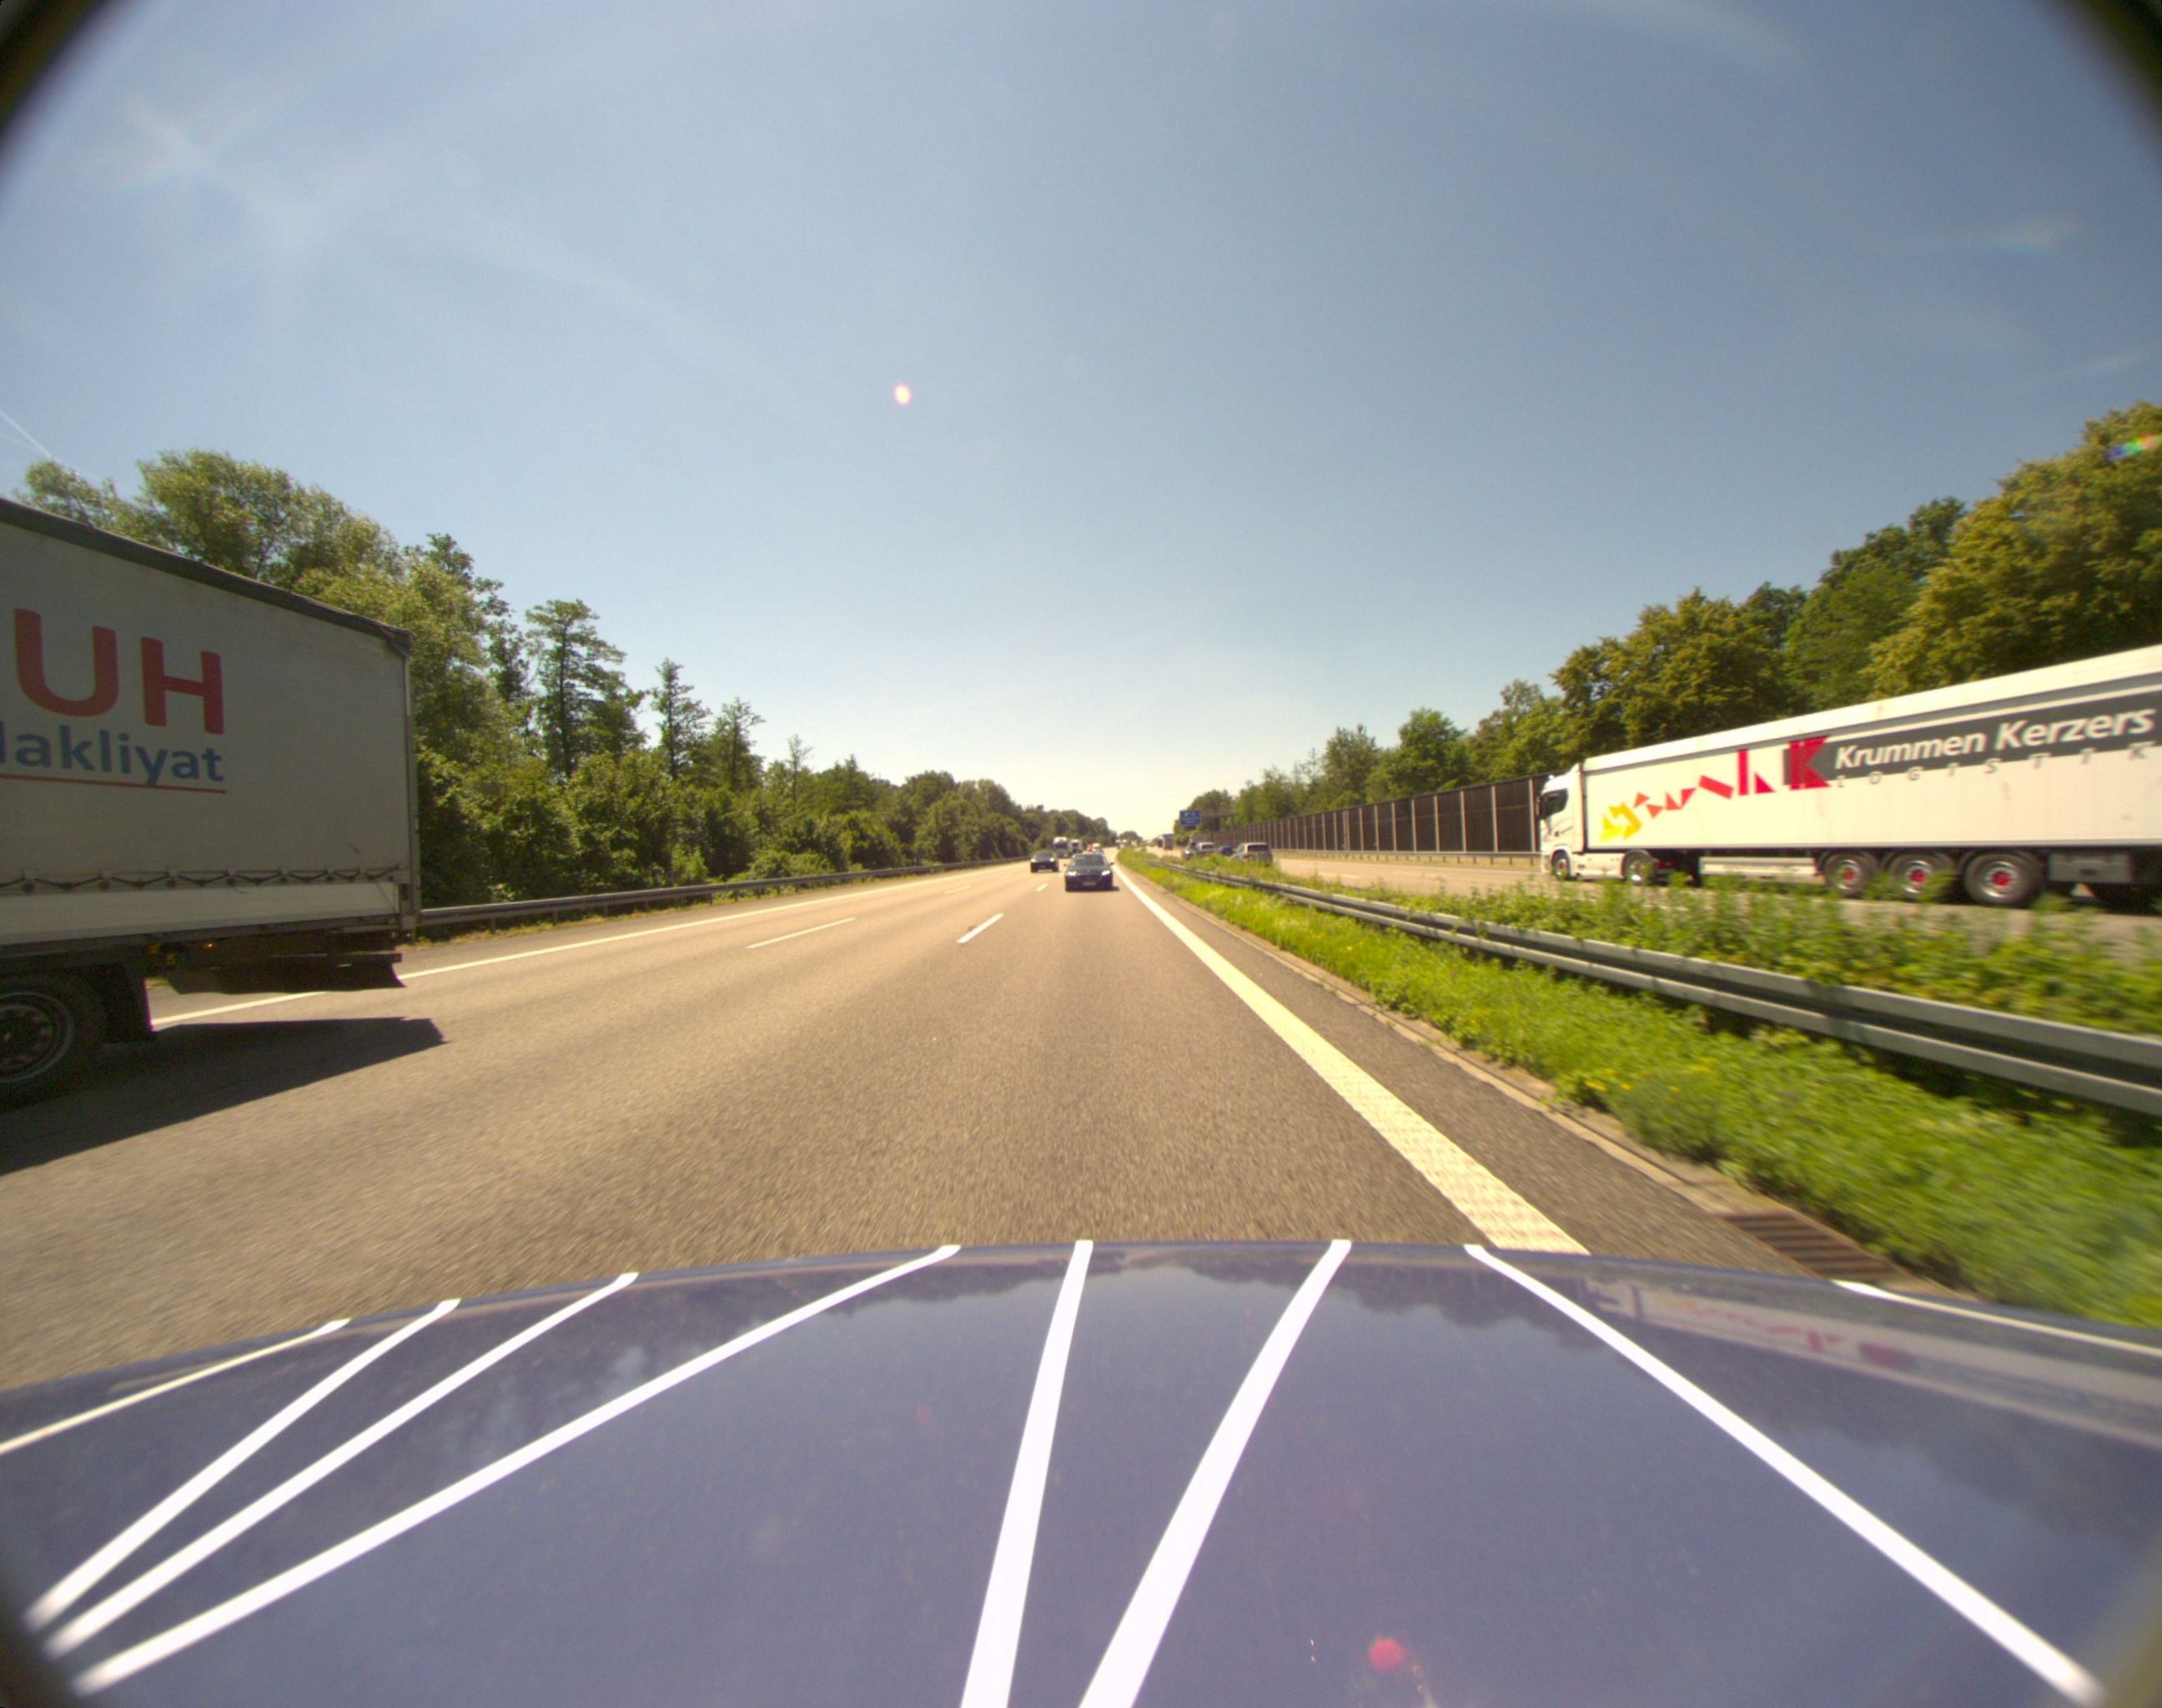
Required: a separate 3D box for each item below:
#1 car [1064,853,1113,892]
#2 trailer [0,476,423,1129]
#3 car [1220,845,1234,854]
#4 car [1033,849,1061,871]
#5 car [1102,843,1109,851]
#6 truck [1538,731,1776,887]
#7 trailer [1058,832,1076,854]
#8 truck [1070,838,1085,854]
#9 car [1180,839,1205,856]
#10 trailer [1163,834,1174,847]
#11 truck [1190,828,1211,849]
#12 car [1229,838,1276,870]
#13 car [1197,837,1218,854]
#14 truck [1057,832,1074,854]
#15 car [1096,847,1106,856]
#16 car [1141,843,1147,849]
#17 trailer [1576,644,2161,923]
[{"bbox_3d":[0.355,0.705,31.447,1.800,1.390,4.833,-2,0,2],"label":"car"},{"bbox_3d":[-8.377,-0.248,0.870,2.630,4.236,14.058,-2,1,1],"label":"trailer"},{"bbox_3d":[19.588,-0.619,101.854,1.282,1.248,3.028,-2,1,1],"label":"car"},{"bbox_3d":[-2.640,0.421,59.818,1.862,1.614,3.737,-2,0,2],"label":"car"},{"bbox_3d":[7.136,-2.012,219.007,1.998,2.291,4.000,-2,1,3],"label":"car"},{"bbox_3d":[17.251,-1.237,23.366,2.737,4.060,6.035,-2,1,1],"label":"truck"},{"bbox_3d":[-2.702,-2.172,151.209,2.747,3.952,13.653,-2,1,2],"label":"trailer"},{"bbox_3d":[-0.810,-2.060,193.966,3.049,3.947,14.453,-2,1,2],"label":"truck"},{"bbox_3d":[10.763,-0.644,73.622,1.717,1.534,4.361,-2,1,1],"label":"car"},{"bbox_3d":[27.051,-4.200,236.599,2.490,4.112,13.654,-2,1,3],"label":"trailer"},{"bbox_3d":[21.528,-2.824,137.306,2.839,3.589,8.745,-2,1,3],"label":"truck"},{"bbox_3d":[9.622,-0.016,42.865,1.770,1.642,4.038,-2,0,1],"label":"car"},{"bbox_3d":[15.691,-1.024,94.184,1.931,1.934,4.609,-2,1,2],"label":"car"},{"bbox_3d":[-2.948,-2.053,144.075,2.729,3.952,6.501,-2,1,2],"label":"truck"},{"bbox_3d":[4.112,-0.544,156.621,1.878,1.630,4.001,-2,1,5],"label":"car"},{"bbox_3d":[18.412,-2.313,220.704,1.587,1.579,4.000,-2,1,3],"label":"car"},{"bbox_3d":[17.157,-1.149,17.120,2.761,4.051,14.387,-2,1,1],"label":"trailer"}]
